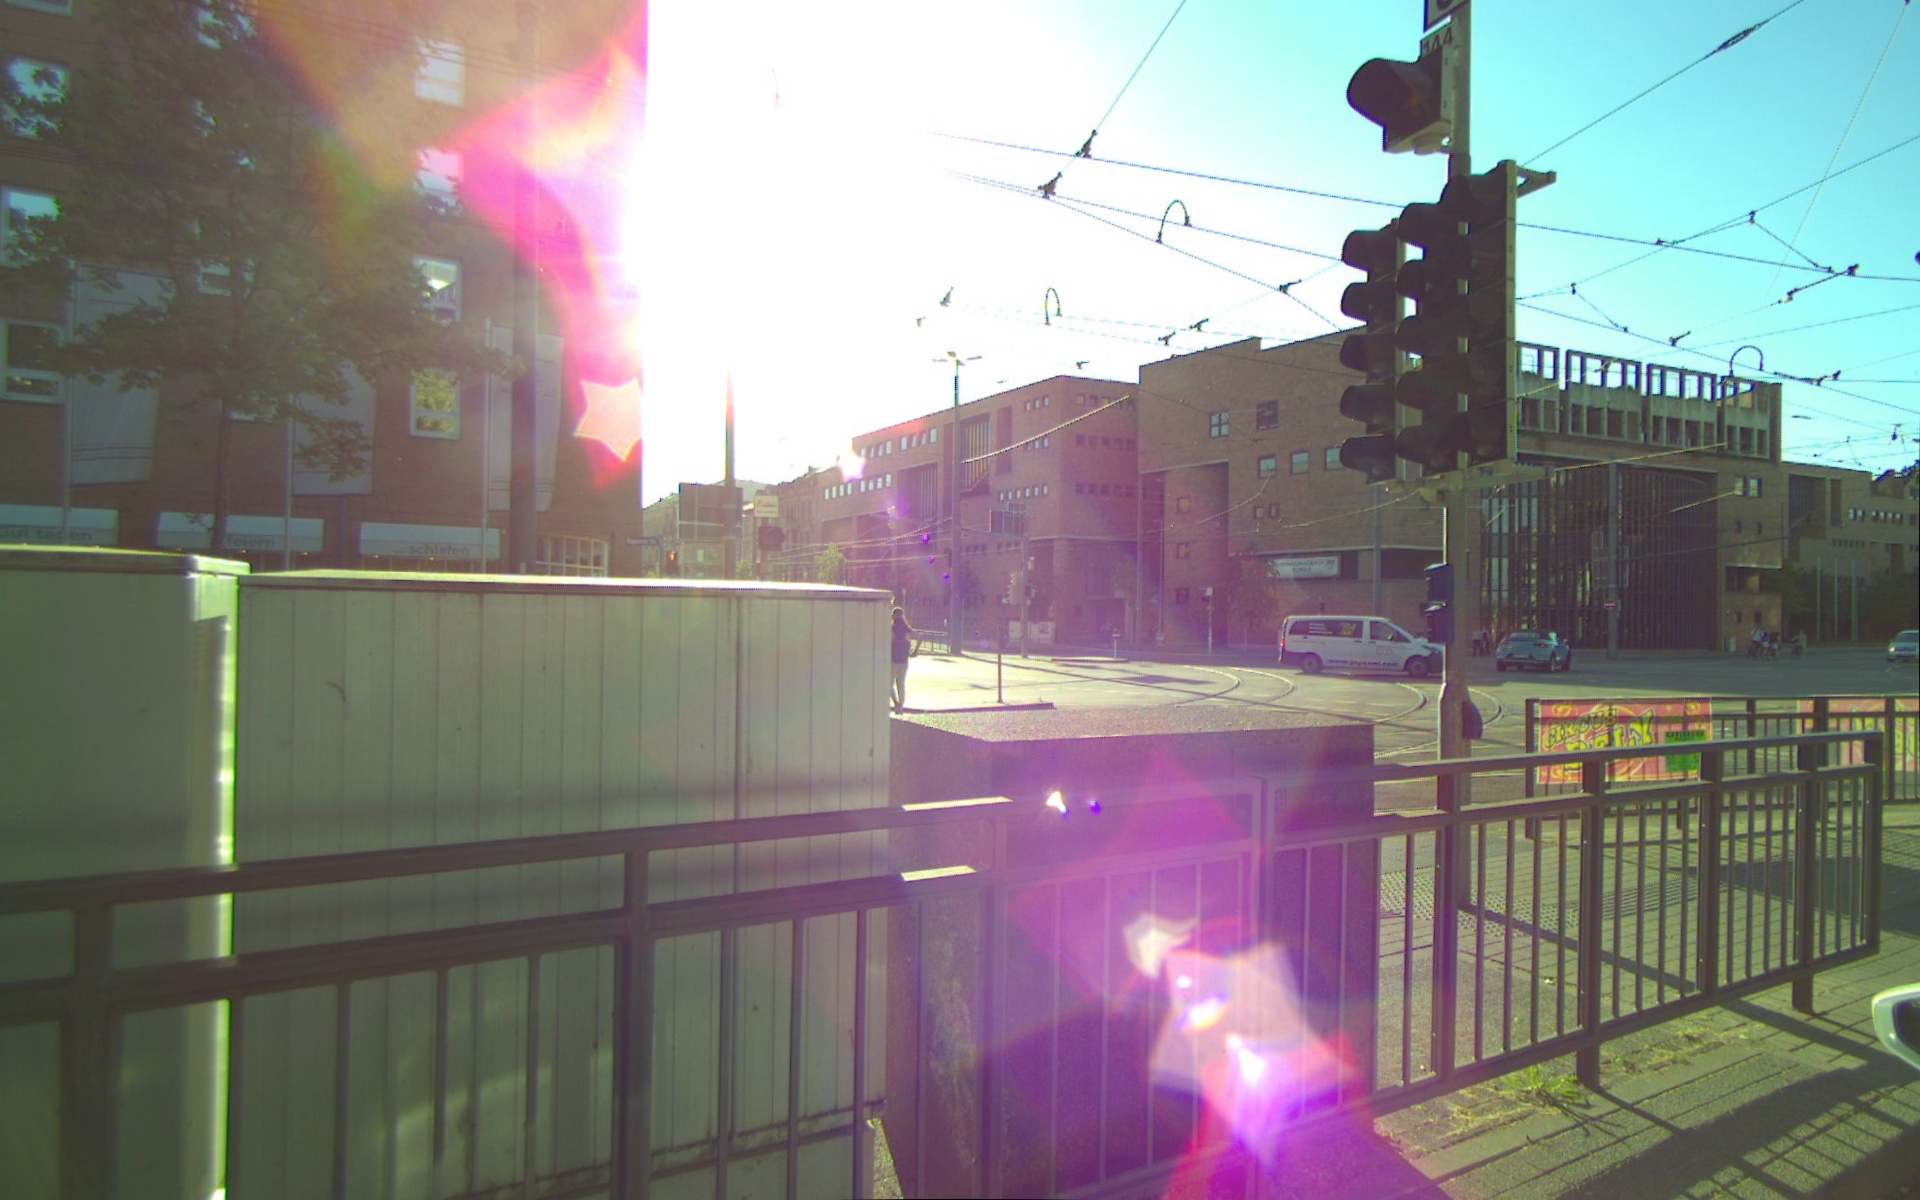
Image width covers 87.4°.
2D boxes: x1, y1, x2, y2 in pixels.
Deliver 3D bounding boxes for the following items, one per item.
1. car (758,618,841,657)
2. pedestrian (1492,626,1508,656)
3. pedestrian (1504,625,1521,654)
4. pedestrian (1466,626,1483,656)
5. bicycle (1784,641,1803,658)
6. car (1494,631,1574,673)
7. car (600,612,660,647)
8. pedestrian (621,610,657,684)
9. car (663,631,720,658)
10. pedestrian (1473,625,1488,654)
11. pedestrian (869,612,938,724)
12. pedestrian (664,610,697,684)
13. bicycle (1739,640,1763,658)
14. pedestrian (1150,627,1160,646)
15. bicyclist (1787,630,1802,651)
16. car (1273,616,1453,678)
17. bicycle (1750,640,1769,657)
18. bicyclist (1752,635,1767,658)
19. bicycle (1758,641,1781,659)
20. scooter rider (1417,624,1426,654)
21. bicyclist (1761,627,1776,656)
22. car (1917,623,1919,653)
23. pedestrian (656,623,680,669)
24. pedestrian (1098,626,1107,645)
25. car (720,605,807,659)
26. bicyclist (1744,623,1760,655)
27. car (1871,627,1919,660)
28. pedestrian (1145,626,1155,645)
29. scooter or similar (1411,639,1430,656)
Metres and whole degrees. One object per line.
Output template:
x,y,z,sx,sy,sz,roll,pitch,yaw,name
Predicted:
-8.336,1.905,51.709,1.982,1.928,5.156,1,-2,-38,car
30.386,2.312,56.523,0.542,1.706,0.590,1,-1,-17,pedestrian
31.776,2.252,57.783,0.607,1.647,0.611,1,-1,-11,pedestrian
29.718,2.351,58.029,0.611,1.706,0.650,1,-1,-11,pedestrian
49.425,2.917,59.567,1.332,0.976,0.449,1,-1,-30,bicycle
20.940,1.862,36.587,1.610,1.445,4.079,-1,-2,44,car
-20.912,1.847,63.556,1.982,2.122,5.156,1,-2,-38,car
-8.142,1.191,25.495,0.713,1.837,0.904,1,-1,-28,pedestrian
-14.450,2.347,53.940,1.729,1.372,3.960,1,-2,-36,car
30.383,2.301,58.649,0.541,1.706,0.571,1,-1,-20,pedestrian
-0.891,1.036,15.696,0.709,1.669,0.953,1,-1,-30,pedestrian
-7.232,1.196,25.933,0.647,1.864,0.835,1,-1,-28,pedestrian
44.426,2.752,56.387,1.568,0.976,0.539,1,-1,-30,bicycle
14.999,2.776,77.318,0.551,1.445,0.554,1,-1,-38,pedestrian
49.449,2.401,59.535,0.574,1.194,0.503,1,-1,-30,bicyclist
12.944,1.459,32.318,5.231,1.873,1.965,0,-1,27,car
46.585,2.826,58.527,1.304,0.976,0.465,1,-1,-30,bicycle
46.634,2.705,58.571,0.574,1.321,0.503,1,-1,-30,bicyclist
45.034,2.764,55.874,1.557,0.976,0.470,1,-1,-30,bicycle
25.431,2.159,55.375,0.429,1.669,0.229,0,-1,15,scooter rider
44.976,2.304,55.872,0.574,1.624,0.456,1,-1,-30,bicyclist
55.259,2.109,55.897,3.954,1.661,1.984,1,-2,-31,car
-10.606,1.666,36.508,0.658,1.669,0.638,1,-1,-34,pedestrian
10.887,2.706,76.579,0.463,1.482,0.505,1,-1,-37,pedestrian
-9.466,1.515,47.982,1.982,2.419,5.156,1,-2,-38,car
44.448,2.194,56.360,0.574,1.754,0.534,1,-1,-30,bicyclist
48.989,2.222,51.784,3.954,1.661,1.984,1,-2,-31,car
14.788,2.794,78.225,0.525,1.482,0.588,0,-1,38,pedestrian
25.385,2.636,55.379,0.931,0.911,0.176,0,-1,14,scooter or similar
